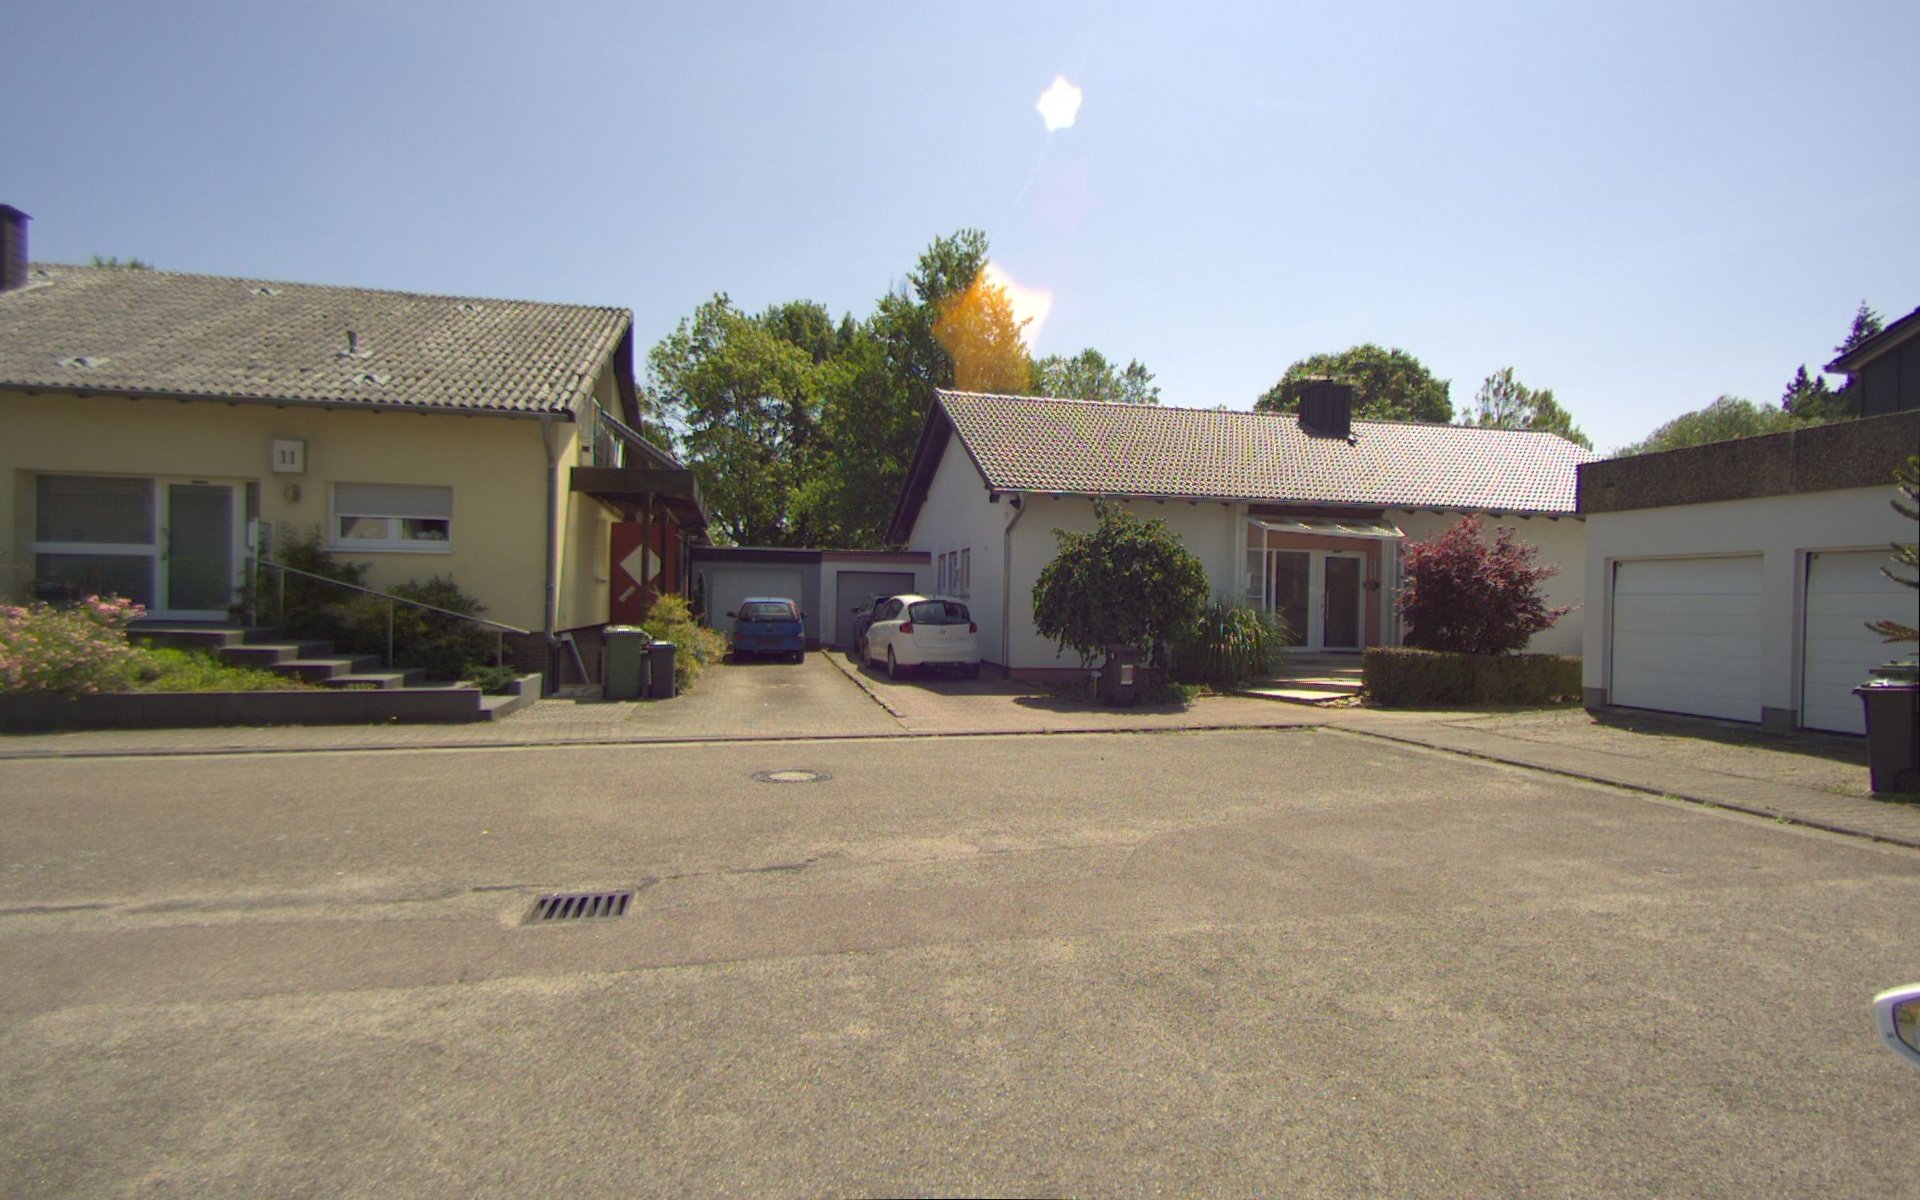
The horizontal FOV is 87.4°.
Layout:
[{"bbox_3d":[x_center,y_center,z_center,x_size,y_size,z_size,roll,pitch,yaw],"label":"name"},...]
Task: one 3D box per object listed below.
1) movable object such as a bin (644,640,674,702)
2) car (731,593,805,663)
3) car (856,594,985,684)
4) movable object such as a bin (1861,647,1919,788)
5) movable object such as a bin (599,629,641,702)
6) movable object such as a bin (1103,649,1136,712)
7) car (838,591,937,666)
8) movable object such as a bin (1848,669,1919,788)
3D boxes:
[{"bbox_3d":[-4.552,1.068,15.181,0.401,0.903,0.424,0,1,-20],"label":"movable object such as a bin"},{"bbox_3d":[-4.585,0.614,23.819,1.592,1.474,3.246,1,1,-12],"label":"car"},{"bbox_3d":[-0.902,0.708,20.219,1.723,1.589,3.987,1,0,-15],"label":"car"},{"bbox_3d":[8.700,1.051,9.060,0.541,1.219,0.632,1,0,-12],"label":"movable object such as a bin"},{"bbox_3d":[-5.094,0.971,15.027,0.584,1.055,0.489,0,1,-20],"label":"movable object such as a bin"},{"bbox_3d":[2.401,1.209,15.169,0.368,0.903,0.389,0,1,-13],"label":"movable object such as a bin"},{"bbox_3d":[-1.864,0.626,24.657,1.895,1.629,3.991,0,1,-12],"label":"car"},{"bbox_3d":[8.102,1.101,8.717,0.386,0.962,0.518,1,0,-38],"label":"movable object such as a bin"}]
